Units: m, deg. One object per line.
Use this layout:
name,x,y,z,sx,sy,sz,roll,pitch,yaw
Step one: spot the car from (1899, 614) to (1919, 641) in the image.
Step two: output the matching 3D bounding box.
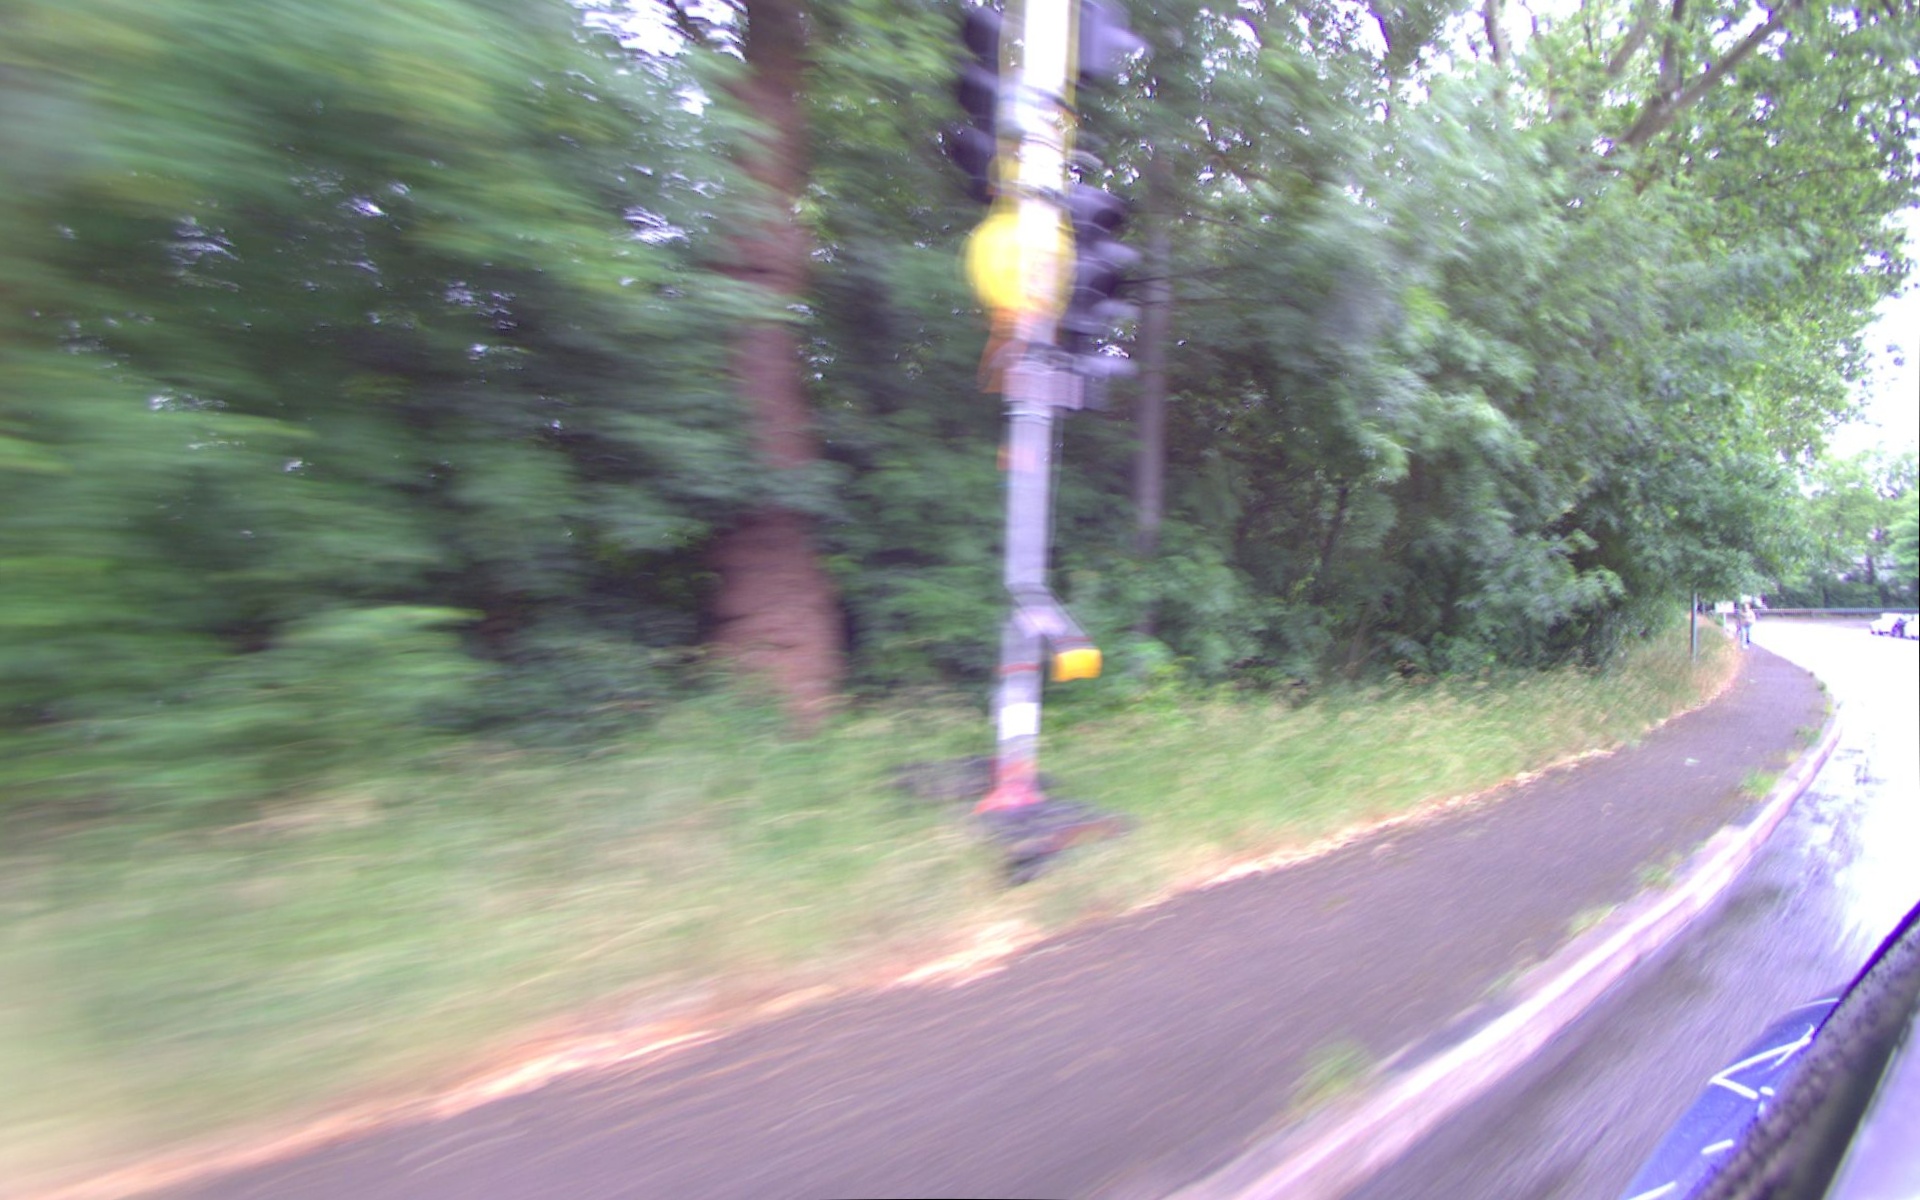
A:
car,58.859,1.686,61.744,1.692,1.544,4.367,1,0,35

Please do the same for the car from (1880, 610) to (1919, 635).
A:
car,62.035,1.436,66.637,1.728,1.440,4.226,-4,-1,37

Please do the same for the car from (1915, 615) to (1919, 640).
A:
car,56.437,1.625,58.155,1.693,1.486,3.664,1,0,35

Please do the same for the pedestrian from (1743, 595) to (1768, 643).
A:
pedestrian,27.798,0.666,35.366,0.640,1.631,0.661,1,1,36
